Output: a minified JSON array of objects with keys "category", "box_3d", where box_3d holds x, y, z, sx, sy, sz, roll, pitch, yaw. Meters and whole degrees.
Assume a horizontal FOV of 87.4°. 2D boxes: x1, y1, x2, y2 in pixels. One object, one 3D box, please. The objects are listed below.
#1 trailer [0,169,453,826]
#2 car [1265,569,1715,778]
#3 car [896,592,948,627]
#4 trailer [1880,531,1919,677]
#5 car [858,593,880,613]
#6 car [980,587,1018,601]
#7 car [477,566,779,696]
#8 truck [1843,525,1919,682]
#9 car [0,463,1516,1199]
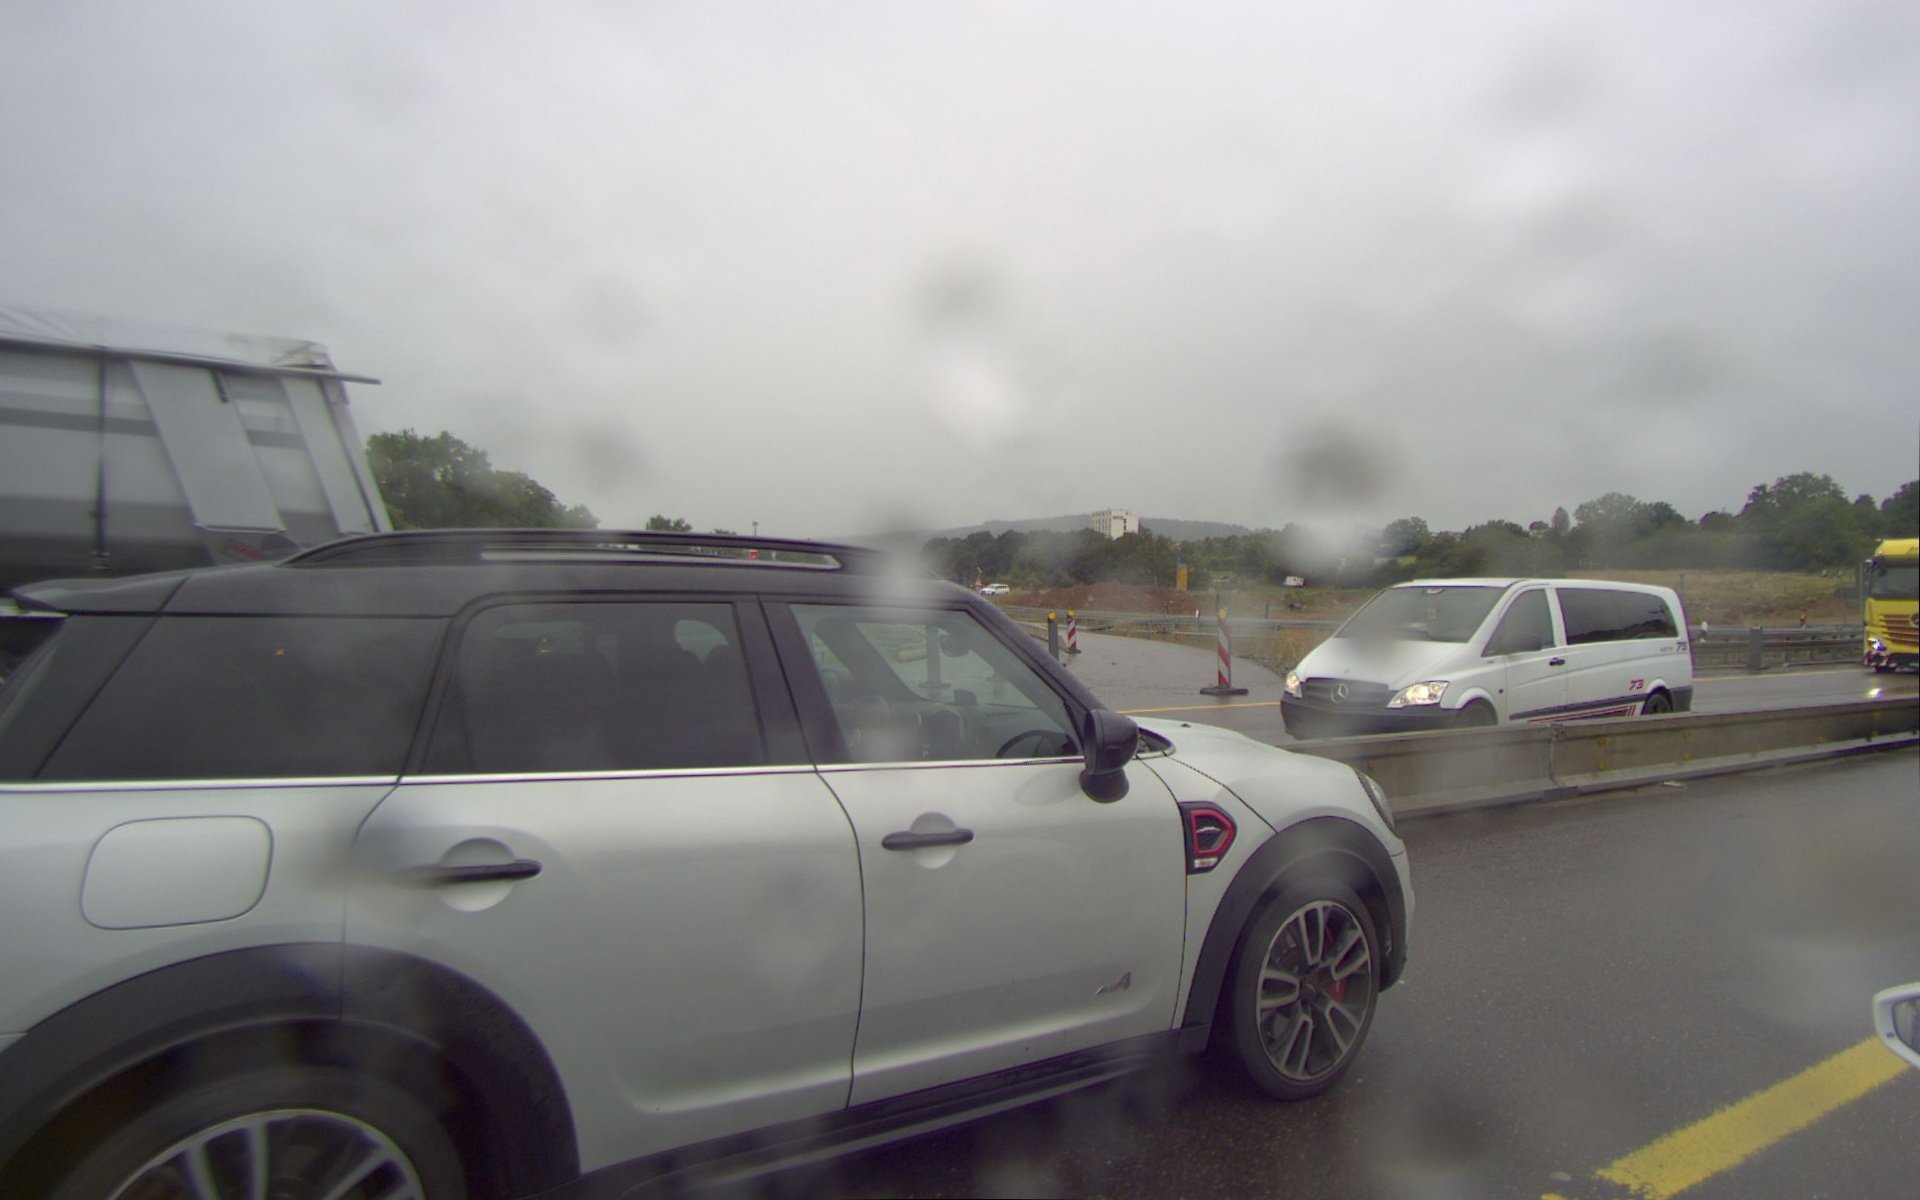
[{"category":"trailer","box_3d":[-8.579,-0.649,6.053,9.706,4.016,2.672,1,-1,-31]},{"category":"car","box_3d":[5.871,0.680,10.886,5.298,1.816,1.865,1,0,-31]},{"category":"car","box_3d":[-2.418,0.576,62.566,2.038,2.090,4.824,1,0,-18]},{"category":"trailer","box_3d":[33.701,0.233,31.646,15.181,4.096,2.735,1,0,-31]},{"category":"car","box_3d":[-8.063,0.246,89.177,1.815,1.723,5.042,1,0,-4]},{"category":"car","box_3d":[4.838,-0.714,124.555,5.011,1.723,1.826,1,0,-44]},{"category":"car","box_3d":[-5.892,0.488,18.540,2.233,2.040,5.034,1,0,32]},{"category":"truck","box_3d":[27.600,0.131,27.983,6.077,4.116,2.735,1,0,-31]},{"category":"car","box_3d":[-0.395,0.607,3.124,4.257,1.622,1.807,0,1,-30]}]
